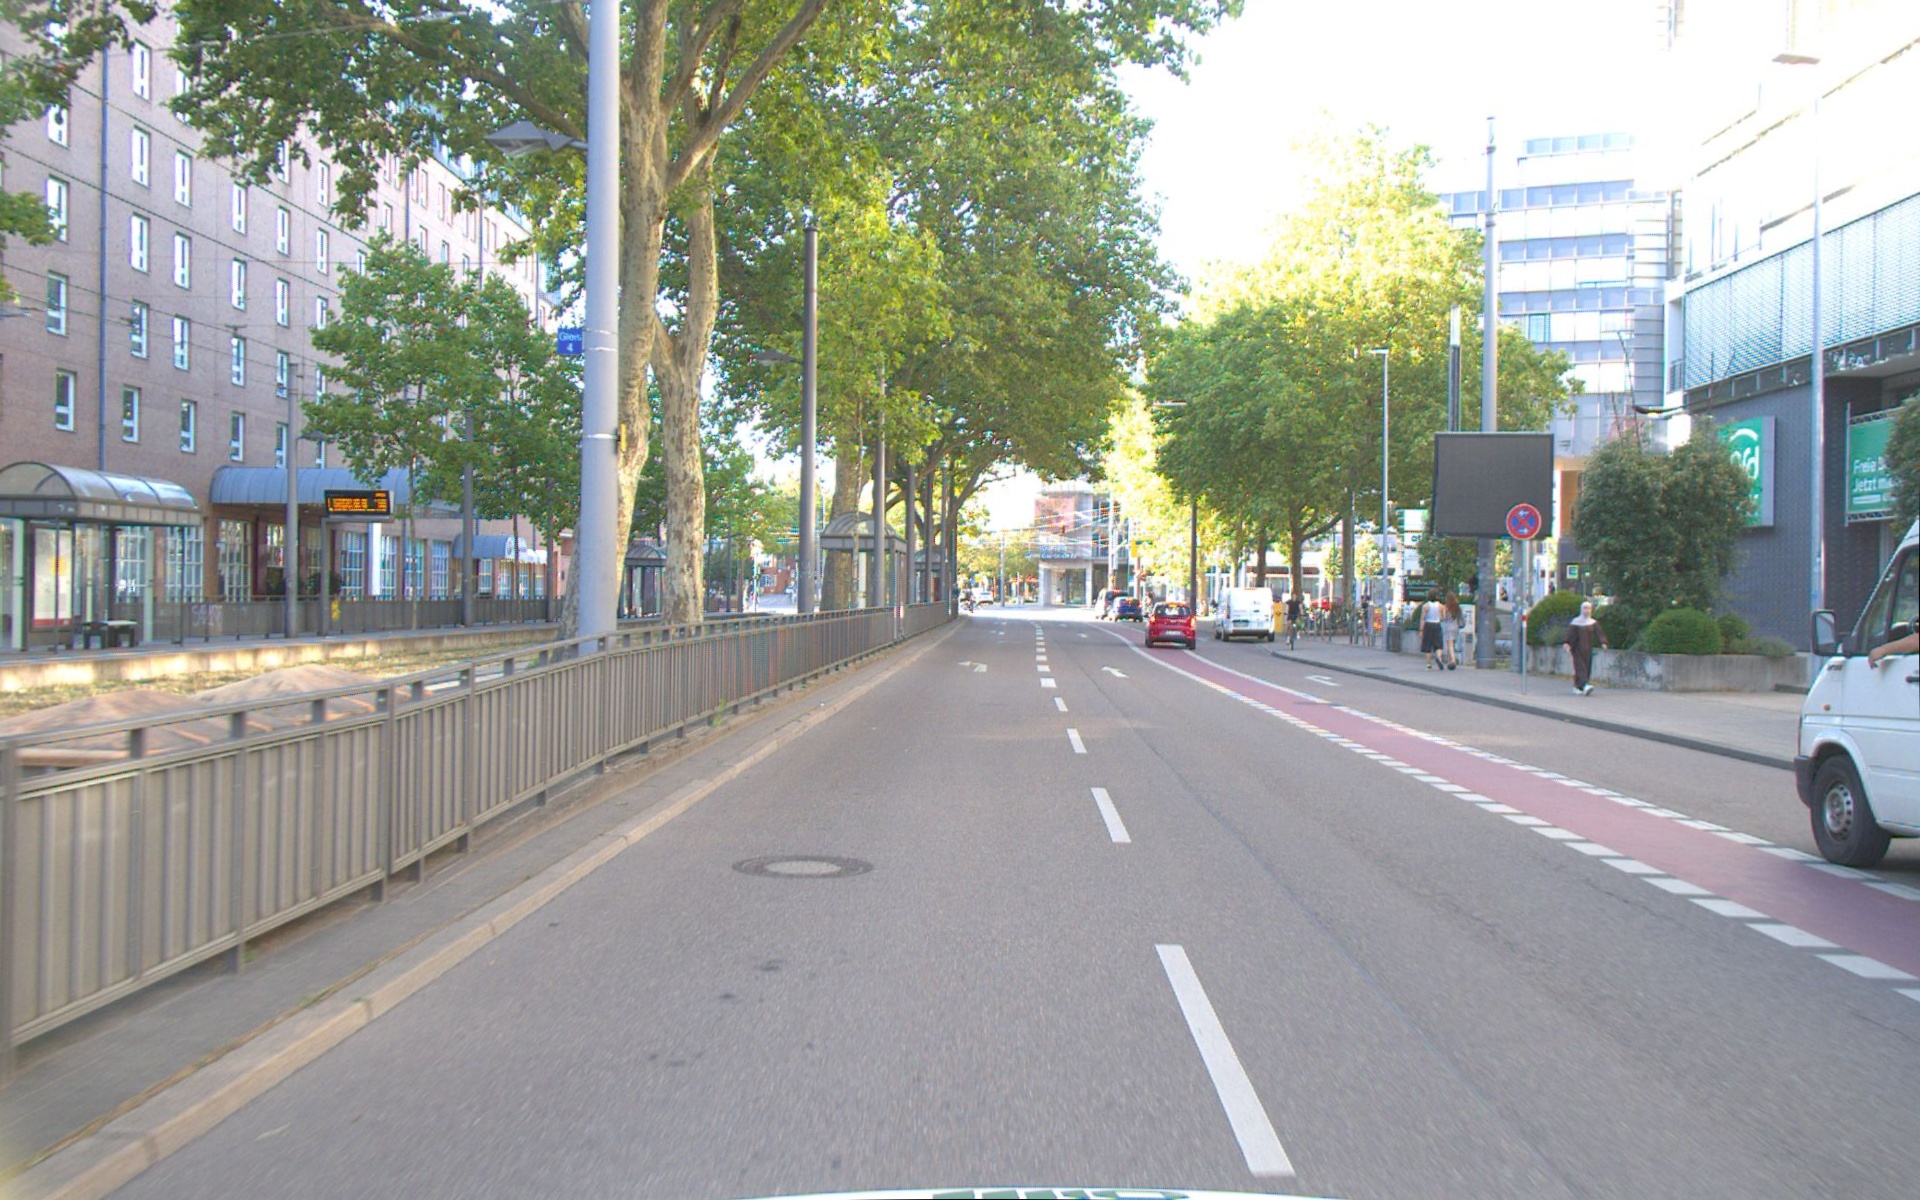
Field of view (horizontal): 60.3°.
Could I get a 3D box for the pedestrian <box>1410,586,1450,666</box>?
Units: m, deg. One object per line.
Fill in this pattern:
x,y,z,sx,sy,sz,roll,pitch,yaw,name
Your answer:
10.601,0.576,37.345,0.553,1.732,0.907,-3,0,-1,pedestrian

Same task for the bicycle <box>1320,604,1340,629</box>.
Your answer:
15.340,0.683,68.638,0.458,0.999,1.768,-1,0,1,bicycle

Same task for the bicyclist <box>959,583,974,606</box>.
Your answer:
0.452,-0.379,113.200,0.823,1.619,0.835,1,1,-18,bicyclist

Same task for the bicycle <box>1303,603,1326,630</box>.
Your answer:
14.712,0.673,68.636,0.573,1.085,1.900,-1,0,1,bicycle

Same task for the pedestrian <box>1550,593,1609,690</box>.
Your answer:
10.568,0.698,28.227,0.629,1.607,0.723,-4,0,-4,pedestrian

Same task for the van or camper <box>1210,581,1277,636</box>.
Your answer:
10.794,0.293,63.281,1.952,2.024,4.746,0,0,3,van or camper

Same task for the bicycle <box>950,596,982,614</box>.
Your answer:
0.411,0.354,113.201,1.981,1.235,0.835,1,1,-18,bicycle

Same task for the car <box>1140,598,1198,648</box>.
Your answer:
6.929,0.735,55.028,1.580,1.561,3.413,1,1,2,car

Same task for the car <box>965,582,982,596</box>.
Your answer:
1.551,-1.288,195.235,1.742,1.561,3.410,1,1,-3,car

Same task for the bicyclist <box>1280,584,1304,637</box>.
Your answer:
11.072,0.338,55.166,0.636,1.731,0.952,0,0,1,bicyclist

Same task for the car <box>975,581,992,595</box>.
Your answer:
2.656,-1.337,188.610,1.742,1.561,3.410,1,1,-3,car

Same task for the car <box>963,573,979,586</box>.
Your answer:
1.307,-2.479,201.247,1.742,1.616,3.410,1,1,-3,car

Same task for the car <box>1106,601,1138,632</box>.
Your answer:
9.840,0.986,100.495,1.602,1.831,3.330,0,1,-1,car

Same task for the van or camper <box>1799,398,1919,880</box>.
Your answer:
6.427,0.264,7.682,1.928,2.763,6.306,1,1,1,van or camper

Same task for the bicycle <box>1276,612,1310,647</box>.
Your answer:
11.066,0.971,55.084,0.669,1.085,2.470,-1,0,1,bicycle

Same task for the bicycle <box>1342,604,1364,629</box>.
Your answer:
16.293,0.669,68.628,0.493,0.999,1.768,-1,0,1,bicycle

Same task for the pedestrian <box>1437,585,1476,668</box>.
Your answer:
11.214,0.581,37.384,0.529,1.827,0.907,-3,0,-1,pedestrian

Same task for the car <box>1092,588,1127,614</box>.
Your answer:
9.605,0.054,106.714,1.742,1.561,3.510,1,1,-3,car

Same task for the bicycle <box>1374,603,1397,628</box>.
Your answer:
17.602,0.641,68.426,0.493,0.999,1.768,-1,0,1,bicycle
